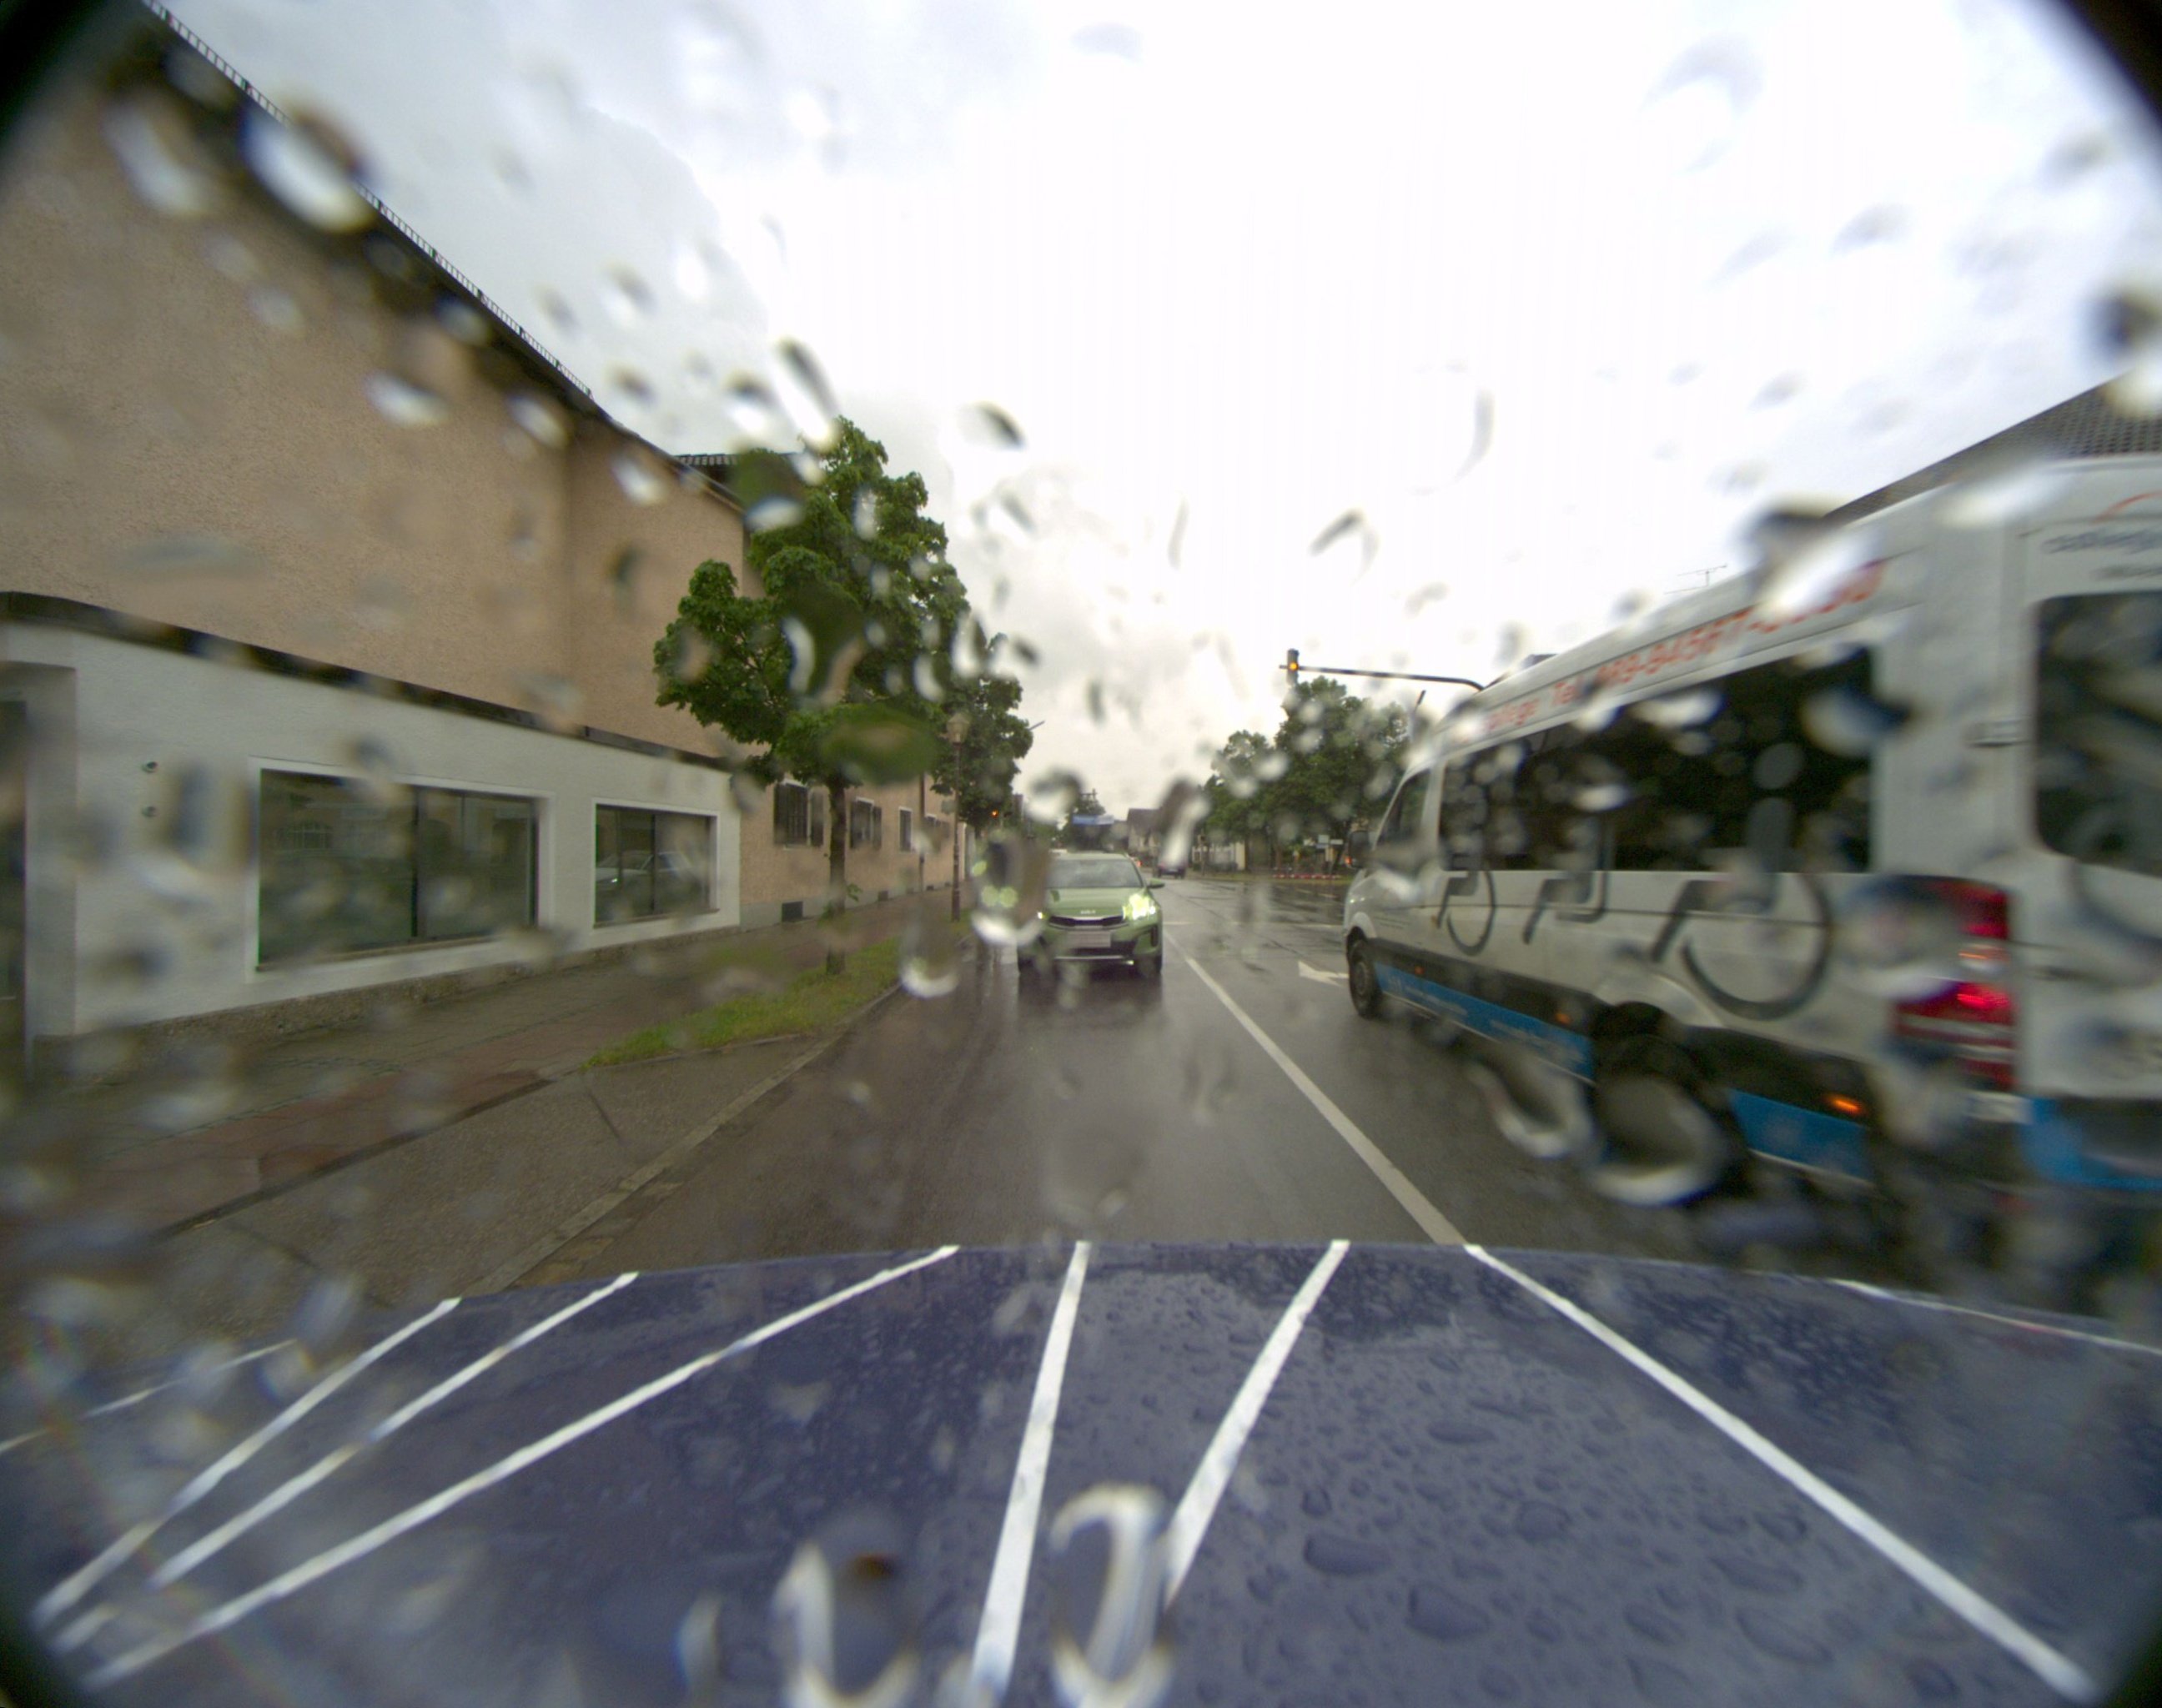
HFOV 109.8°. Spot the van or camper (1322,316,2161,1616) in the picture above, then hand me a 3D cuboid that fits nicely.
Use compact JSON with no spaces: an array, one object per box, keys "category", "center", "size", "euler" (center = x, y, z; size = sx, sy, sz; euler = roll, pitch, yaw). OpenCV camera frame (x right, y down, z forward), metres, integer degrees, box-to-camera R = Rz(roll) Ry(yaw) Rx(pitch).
[{"category":"van or camper","center":[3.400,0.226,4.651],"size":[2.099,2.691,6.269],"euler":[0,0,3]}]

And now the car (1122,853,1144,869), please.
[{"category":"car","center":[5.145,0.693,75.779],"size":[1.757,1.502,4.229],"euler":[2,1,-1]}]

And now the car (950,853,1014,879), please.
[{"category":"car","center":[-6.697,0.820,51.298],"size":[4.039,1.656,1.854],"euler":[1,1,-18]}]

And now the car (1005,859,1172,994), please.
[{"category":"car","center":[0.134,0.843,10.718],"size":[1.872,1.504,4.105],"euler":[-1,0,1]}]

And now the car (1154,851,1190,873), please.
[{"category":"car","center":[6.166,0.538,51.915],"size":[2.001,1.399,3.883],"euler":[1,1,1]}]

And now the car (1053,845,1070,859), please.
[{"category":"car","center":[-2.963,-0.327,115.069],"size":[2.218,1.977,4.952],"euler":[1,0,-4]}]

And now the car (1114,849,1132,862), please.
[{"category":"car","center":[5.044,0.172,92.583],"size":[1.931,1.557,4.125],"euler":[1,1,0]}]

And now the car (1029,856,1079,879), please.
[{"category":"car","center":[-1.898,0.946,55.378],"size":[1.836,1.509,4.677],"euler":[2,0,22]}]
